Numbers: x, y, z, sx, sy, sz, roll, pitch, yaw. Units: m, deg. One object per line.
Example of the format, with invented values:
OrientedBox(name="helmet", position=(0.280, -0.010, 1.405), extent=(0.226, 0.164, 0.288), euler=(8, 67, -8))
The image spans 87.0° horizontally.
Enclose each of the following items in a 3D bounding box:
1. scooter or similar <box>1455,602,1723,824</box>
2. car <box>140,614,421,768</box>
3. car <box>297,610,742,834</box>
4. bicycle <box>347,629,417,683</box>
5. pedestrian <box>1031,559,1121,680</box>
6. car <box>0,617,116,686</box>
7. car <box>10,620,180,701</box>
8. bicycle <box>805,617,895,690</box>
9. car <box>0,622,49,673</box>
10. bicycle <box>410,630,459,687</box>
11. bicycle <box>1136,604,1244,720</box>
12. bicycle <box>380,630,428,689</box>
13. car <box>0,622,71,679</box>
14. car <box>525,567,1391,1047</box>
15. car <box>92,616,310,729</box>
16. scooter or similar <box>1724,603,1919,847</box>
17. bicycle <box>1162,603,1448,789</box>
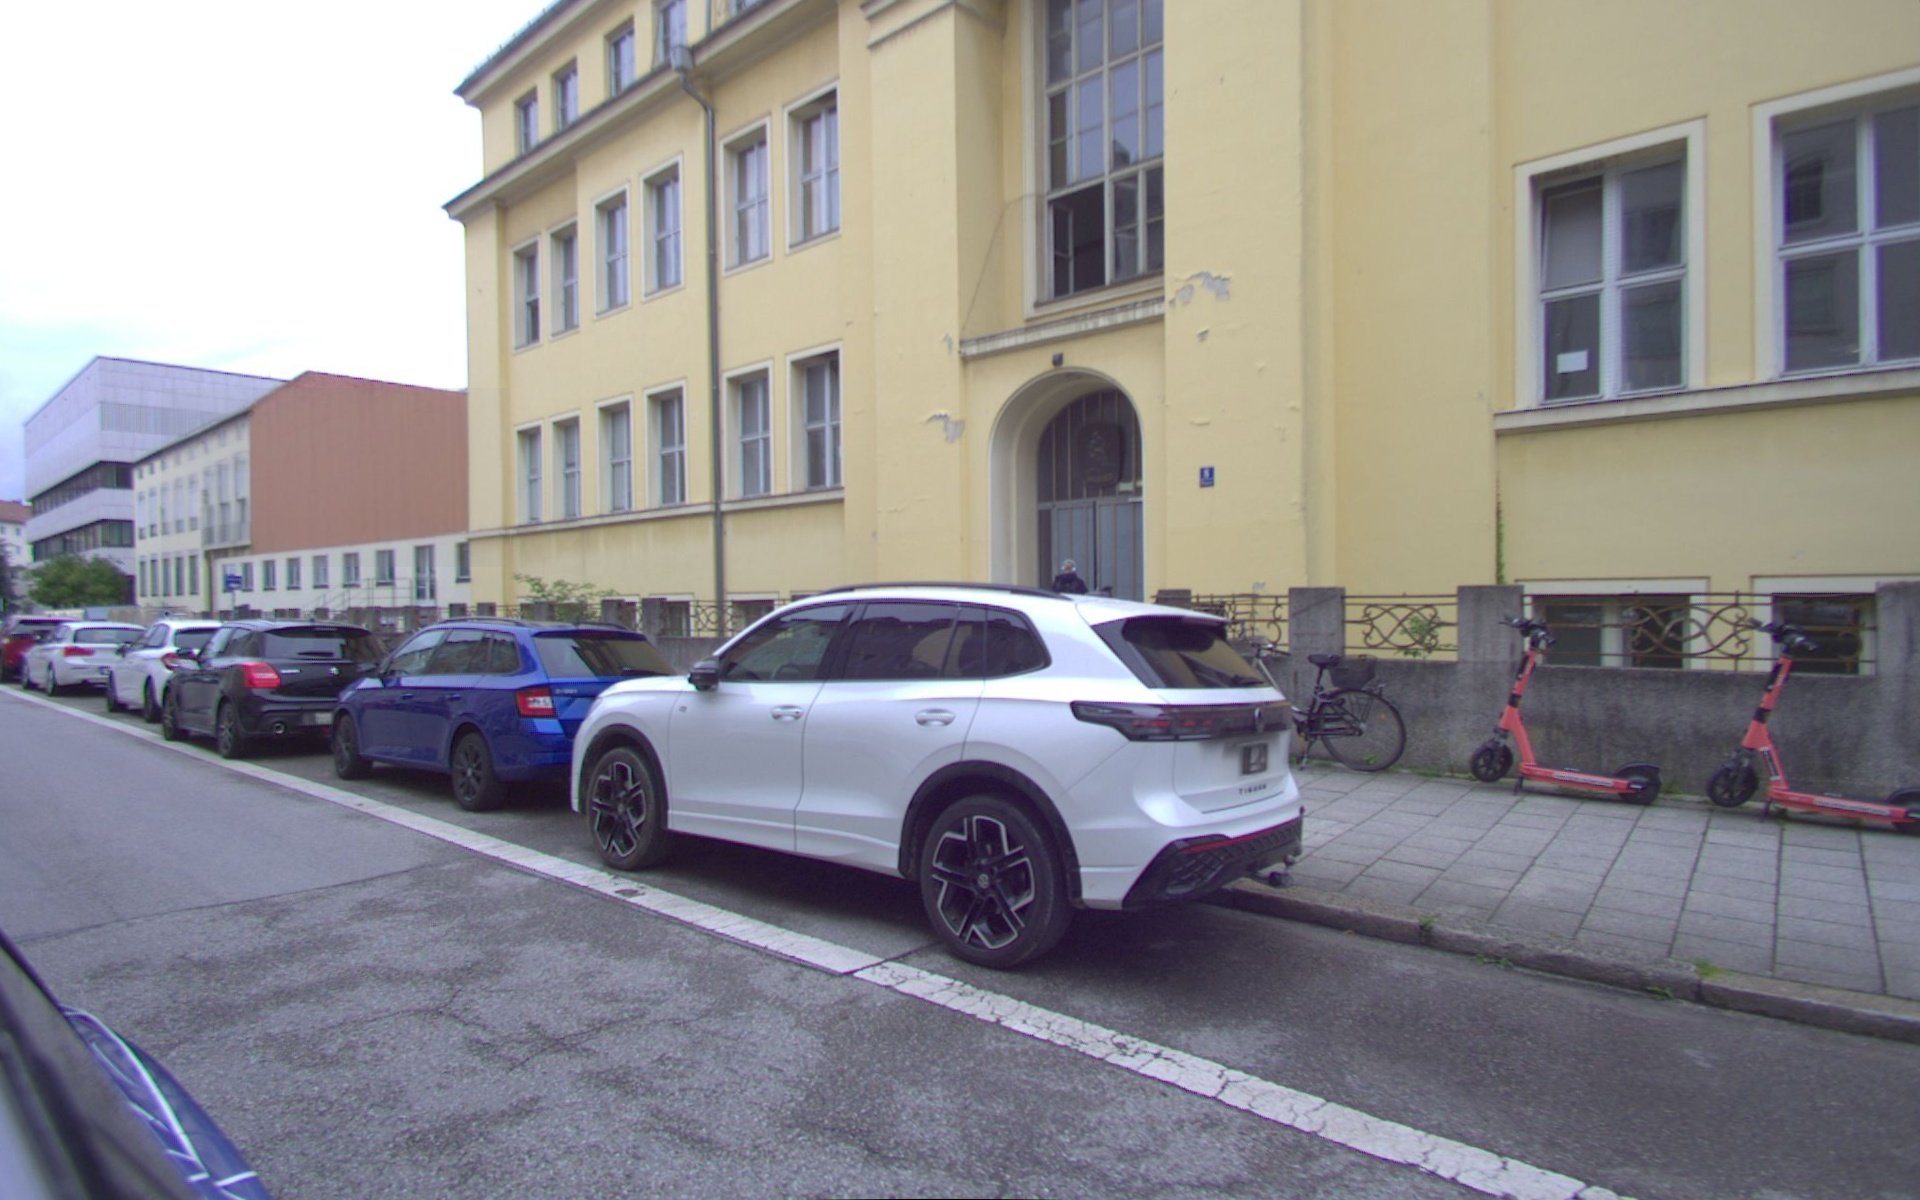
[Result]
OrientedBox(name="scooter or similar", position=(4.319, 0.715, 7.010), extent=(1.500, 1.379, 0.554), euler=(-1, -1, 41))
OrientedBox(name="car", position=(-8.170, 0.968, 12.034), extent=(4.146, 1.508, 1.681), euler=(0, -4, 41))
OrientedBox(name="car", position=(-4.066, 0.910, 8.980), extent=(4.491, 1.514, 1.686), euler=(0, -5, 39))
OrientedBox(name="bicycle", position=(-12.236, 1.176, 21.416), extent=(1.635, 1.070, 0.570), euler=(-1, 0, 33))
OrientedBox(name="pedestrian", position=(1.740, 0.291, 15.178), extent=(0.904, 1.732, 1.044), euler=(-1, -1, 41))
OrientedBox(name="car", position=(-22.070, 1.169, 24.231), extent=(4.523, 1.493, 1.939), euler=(0, -2, 38))
OrientedBox(name="car", position=(-17.678, 1.180, 20.617), extent=(4.660, 1.440, 1.776), euler=(0, -3, 39))
OrientedBox(name="bicycle", position=(-1.677, 0.795, 15.619), extent=(0.425, 1.058, 1.643), euler=(-1, -1, 34))
OrientedBox(name="car", position=(-29.383, 1.398, 30.589), extent=(4.610, 1.429, 1.994), euler=(0, -2, 39))
OrientedBox(name="bicycle", position=(-10.641, 1.159, 20.473), extent=(0.530, 1.070, 1.643), euler=(-1, 0, -39))
OrientedBox(name="bicycle", position=(2.727, 0.690, 11.914), extent=(0.527, 1.278, 1.609), euler=(-1, -1, 42))
OrientedBox(name="bicycle", position=(-11.080, 1.168, 20.157), extent=(0.530, 1.070, 1.643), euler=(-1, 0, -39))
OrientedBox(name="car", position=(-25.636, 1.315, 27.222), extent=(4.348, 1.416, 1.733), euler=(-1, -3, 37))
OrientedBox(name="car", position=(-0.358, 0.742, 5.682), extent=(4.850, 1.646, 1.729), euler=(-1, -1, 38))
OrientedBox(name="car", position=(-11.889, 0.999, 15.734), extent=(4.649, 1.442, 1.766), euler=(0, 1, 41))
OrientedBox(name="scooter or similar", position=(5.511, 0.708, 6.018), extent=(1.500, 1.379, 0.554), euler=(-1, -1, 41))
OrientedBox(name="bicycle", position=(2.766, 0.703, 8.295), extent=(2.112, 1.338, 0.674), euler=(-1, 0, 41))
